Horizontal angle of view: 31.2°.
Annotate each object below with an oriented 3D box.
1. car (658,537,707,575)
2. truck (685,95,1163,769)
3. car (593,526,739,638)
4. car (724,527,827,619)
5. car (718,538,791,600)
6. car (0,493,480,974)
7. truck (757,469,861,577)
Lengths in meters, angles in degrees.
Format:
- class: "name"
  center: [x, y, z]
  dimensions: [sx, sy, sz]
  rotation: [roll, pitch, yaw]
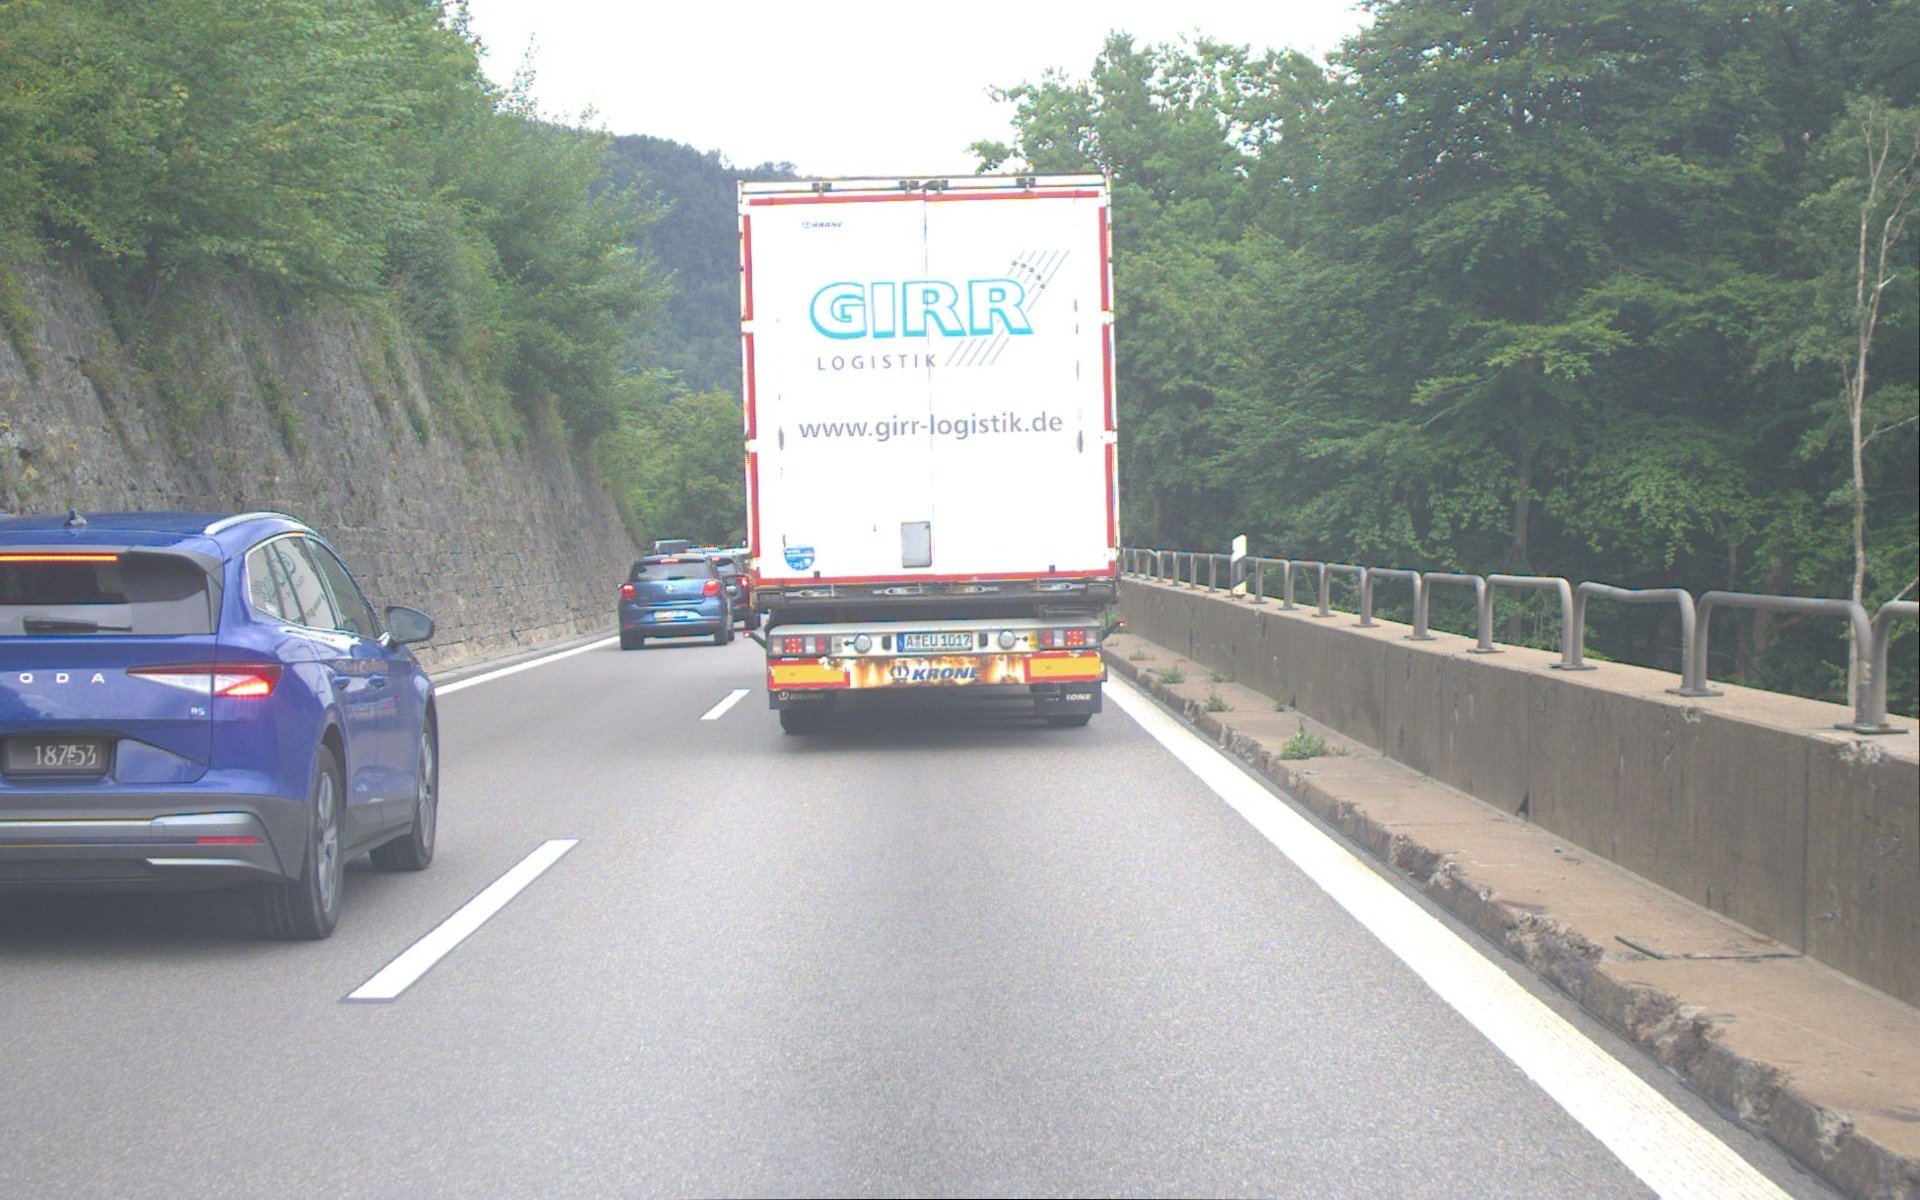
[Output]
- class: "car"
  center: [-12.501, -1.960, 154.498]
  dimensions: [1.745, 1.581, 4.001]
  rotation: [3, 0, -10]
- class: "truck"
  center: [-0.388, -1.269, 30.837]
  dimensions: [3.084, 4.448, 15.157]
  rotation: [2, 1, -1]
- class: "car"
  center: [-4.567, -0.270, 53.948]
  dimensions: [1.993, 1.590, 4.354]
  rotation: [-3, 0, -2]
- class: "car"
  center: [-3.365, -0.516, 63.312]
  dimensions: [1.745, 1.581, 4.000]
  rotation: [2, 1, -1]
- class: "car"
  center: [-5.359, -0.802, 90.107]
  dimensions: [1.745, 1.481, 4.000]
  rotation: [3, 0, -2]
- class: "car"
  center: [-3.303, 0.424, 14.234]
  dimensions: [1.993, 1.626, 5.009]
  rotation: [-1, 1, -1]
- class: "truck"
  center: [-5.831, -2.923, 130.920]
  dimensions: [2.633, 3.844, 12.362]
  rotation: [2, 1, -8]
